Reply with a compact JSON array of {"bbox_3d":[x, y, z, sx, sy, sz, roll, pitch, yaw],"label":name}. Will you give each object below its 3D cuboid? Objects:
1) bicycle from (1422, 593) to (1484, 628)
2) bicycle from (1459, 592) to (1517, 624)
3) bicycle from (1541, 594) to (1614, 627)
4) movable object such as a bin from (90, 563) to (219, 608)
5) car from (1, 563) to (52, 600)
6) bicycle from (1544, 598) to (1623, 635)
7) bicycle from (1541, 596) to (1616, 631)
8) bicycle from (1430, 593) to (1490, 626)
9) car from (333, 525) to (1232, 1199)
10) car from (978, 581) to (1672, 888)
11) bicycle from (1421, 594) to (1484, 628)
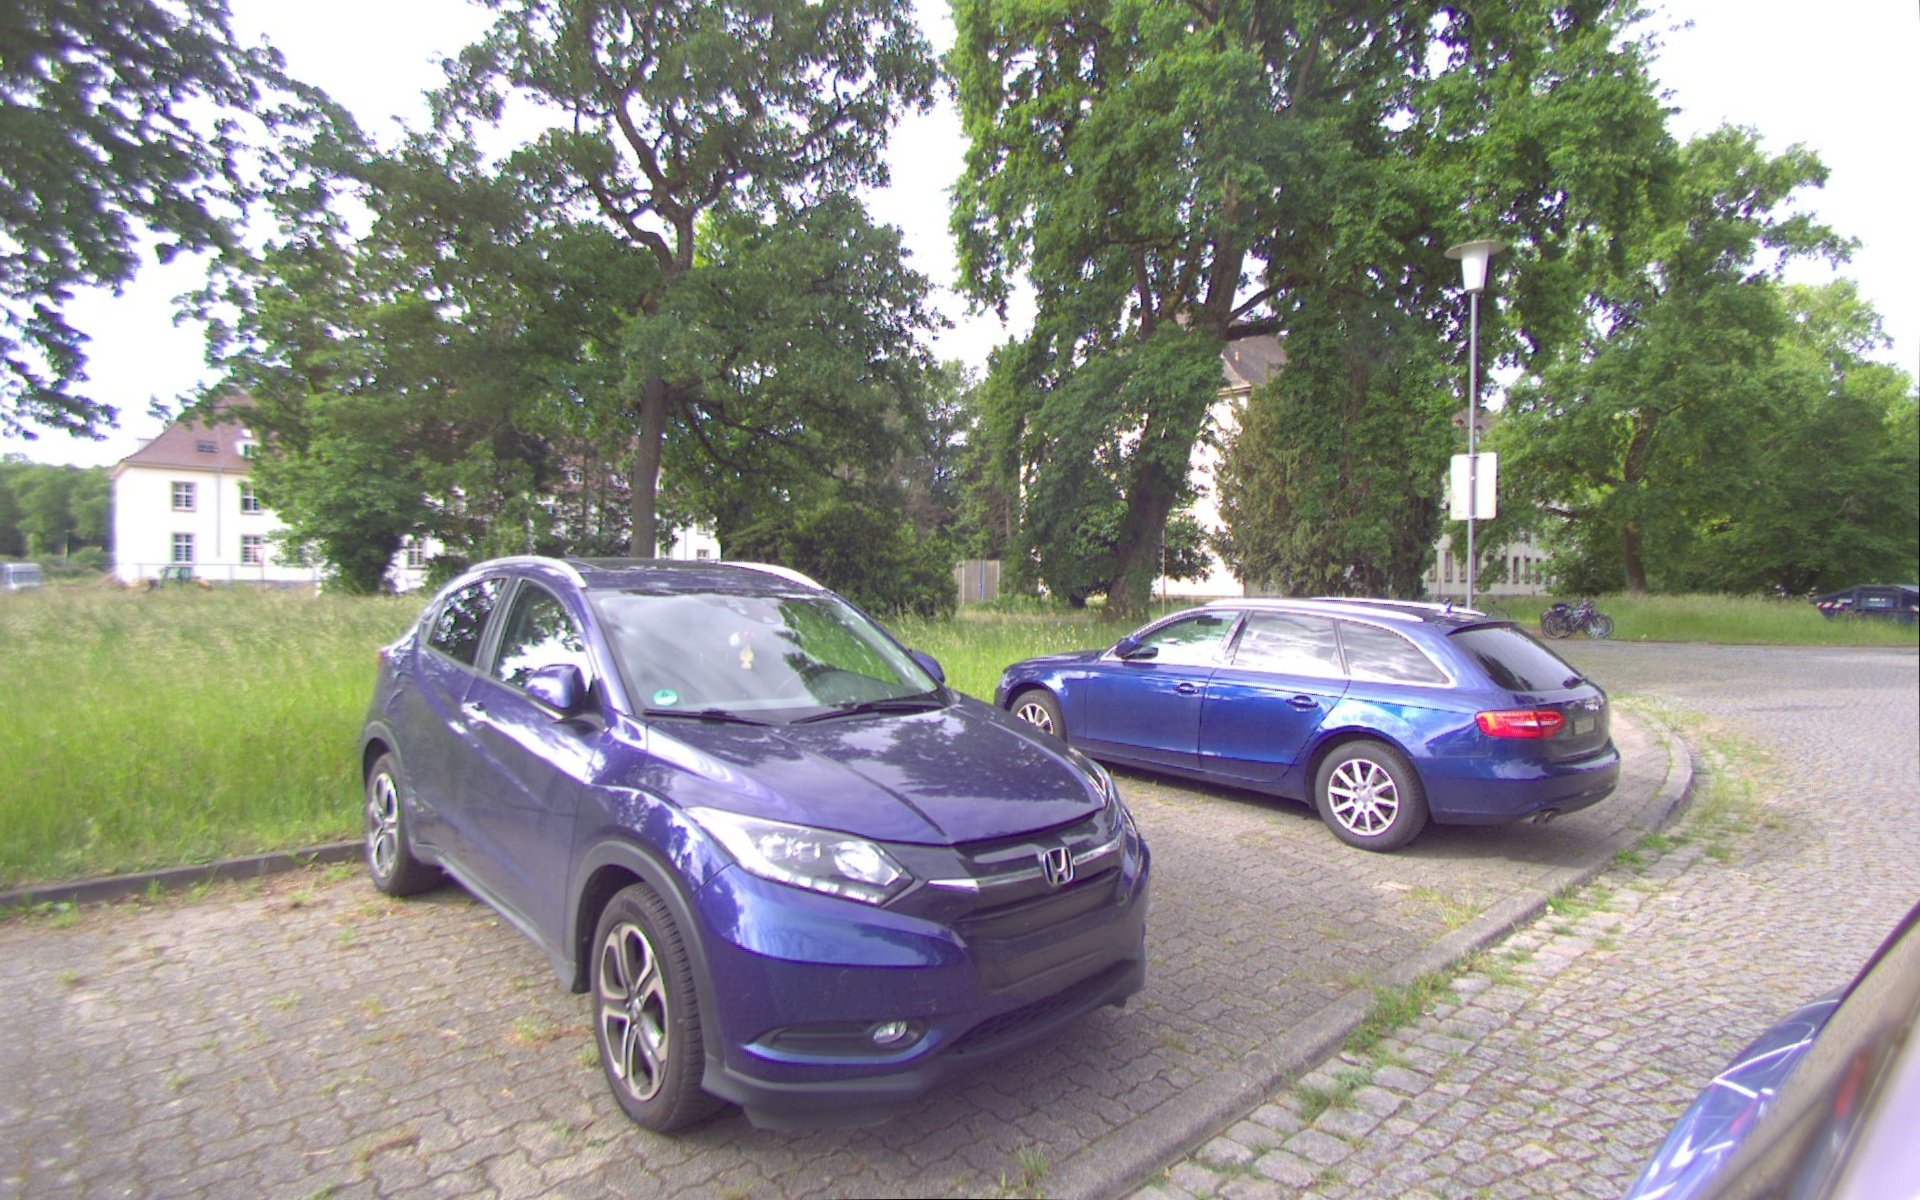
[{"bbox_3d":[16.696,0.349,34.314,1.837,1.137,0.617,0,0,24],"label":"bicycle"},{"bbox_3d":[19.328,0.288,37.085,1.837,1.137,0.617,0,0,24],"label":"bicycle"},{"bbox_3d":[20.757,0.354,34.059,2.007,1.090,0.617,0,0,24],"label":"bicycle"},{"bbox_3d":[-49.022,-0.888,61.777,5.859,2.688,2.177,-1,0,-31],"label":"movable object such as a bin"},{"bbox_3d":[-62.759,-1.239,68.027,4.574,2.377,1.891,0,1,39],"label":"car"},{"bbox_3d":[18.899,0.489,30.734,1.948,1.090,0.584,0,0,20],"label":"bicycle"},{"bbox_3d":[19.664,0.432,32.195,1.948,1.090,0.584,0,0,20],"label":"bicycle"},{"bbox_3d":[17.623,0.327,35.714,1.837,1.137,0.617,0,0,24],"label":"bicycle"},{"bbox_3d":[-1.151,0.575,4.271,1.763,1.591,4.167,-2,2,-43],"label":"car"},{"bbox_3d":[2.266,0.644,7.381,1.753,1.439,4.480,0,2,-40],"label":"car"},{"bbox_3d":[16.402,0.357,33.749,1.837,1.137,0.617,0,0,24],"label":"bicycle"}]
